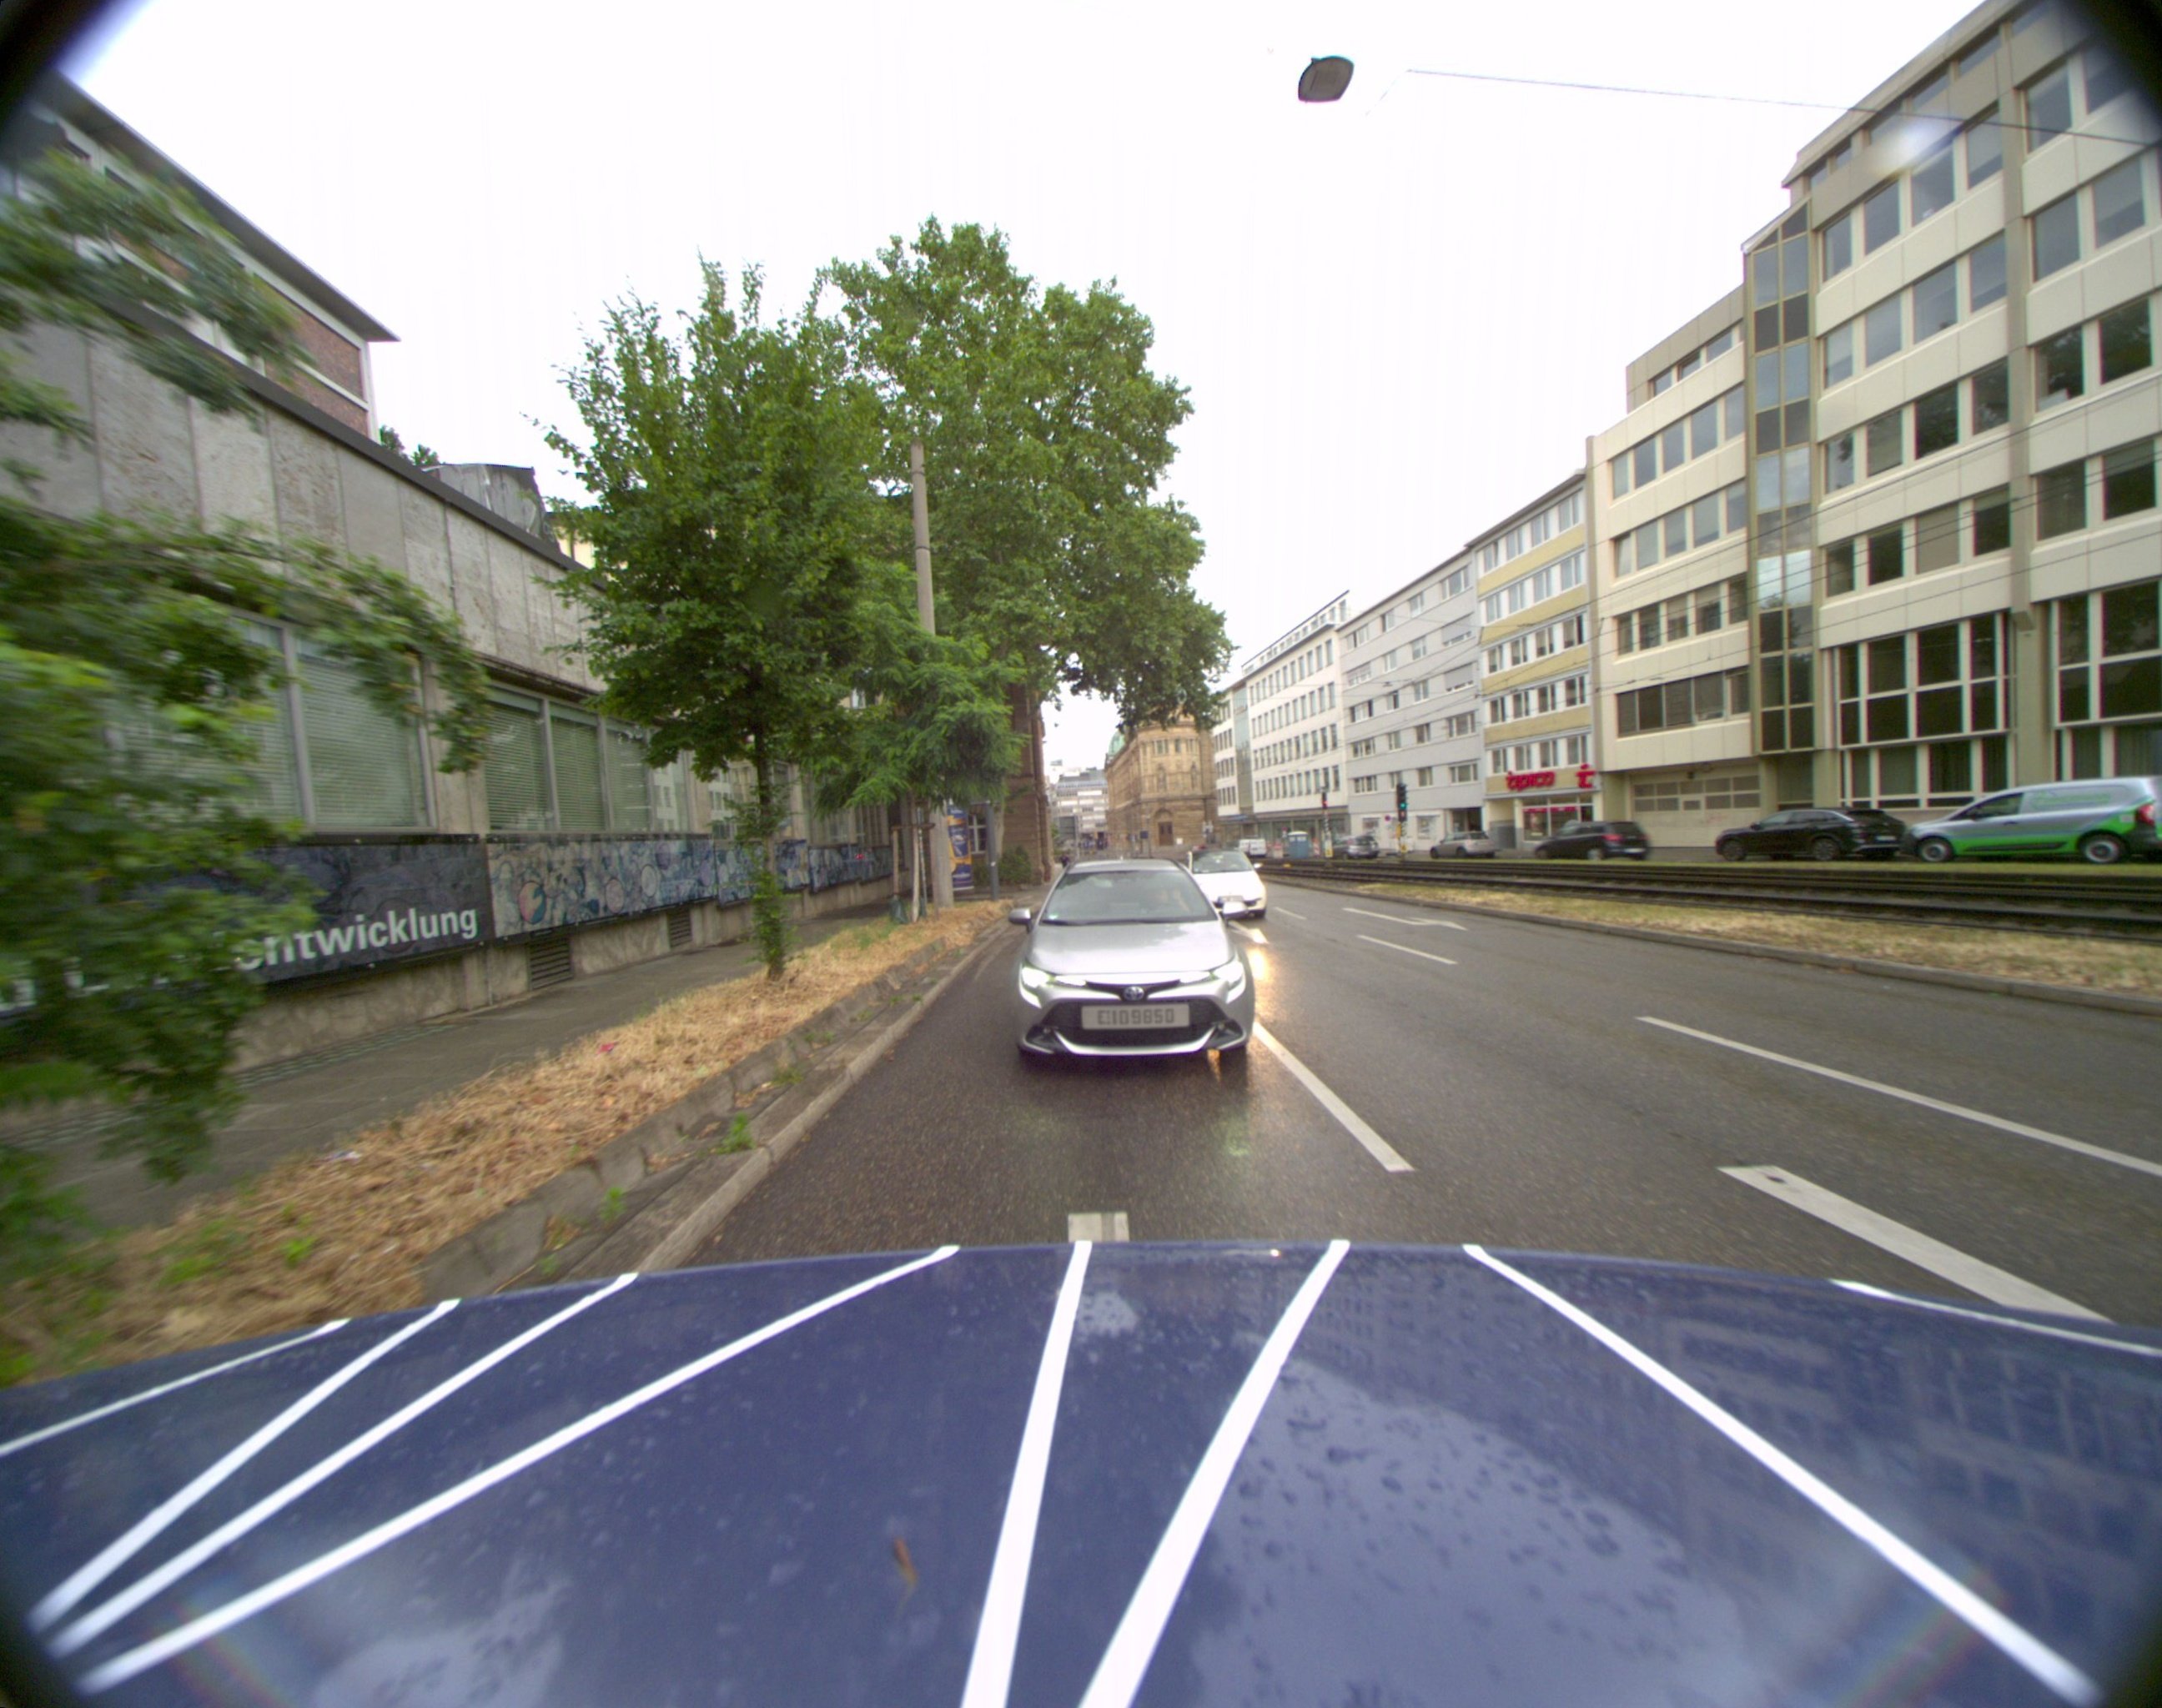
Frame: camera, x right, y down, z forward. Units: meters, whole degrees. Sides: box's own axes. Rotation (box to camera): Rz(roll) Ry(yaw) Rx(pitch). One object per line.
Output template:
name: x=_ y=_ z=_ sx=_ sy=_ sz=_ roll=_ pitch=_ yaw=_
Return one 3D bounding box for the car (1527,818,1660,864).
car: x=17.547 y=-0.431 z=26.249 sx=1.632 sy=1.349 sz=3.869 roll=-5 pitch=1 yaw=-6

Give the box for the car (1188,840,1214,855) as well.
car: x=14.554 y=-0.831 z=92.267 sx=1.890 sy=1.615 sz=4.474 roll=-5 pitch=1 yaw=-7

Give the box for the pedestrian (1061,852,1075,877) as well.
pedestrian: x=-0.898 y=0.693 z=52.559 sx=0.719 sy=1.630 sz=0.760 roll=-5 pitch=2 yaw=10

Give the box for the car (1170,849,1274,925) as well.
car: x=3.034 y=0.660 z=16.943 sx=1.654 sy=1.426 sz=3.439 roll=-2 pitch=1 yaw=0

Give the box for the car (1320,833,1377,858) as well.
car: x=15.836 y=-0.495 z=45.162 sx=1.632 sy=1.349 sz=3.869 roll=-5 pitch=1 yaw=-6

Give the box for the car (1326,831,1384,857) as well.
car: x=18.175 y=-0.675 z=50.612 sx=1.890 sy=1.505 sz=4.074 roll=-5 pitch=1 yaw=-7

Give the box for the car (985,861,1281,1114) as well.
car: x=0.349 y=0.868 z=6.943 sx=1.811 sy=1.426 sz=4.297 roll=-2 pitch=1 yaw=0

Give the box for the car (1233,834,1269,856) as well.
car: x=16.333 y=-0.869 z=73.113 sx=1.890 sy=1.924 sz=4.474 roll=-5 pitch=1 yaw=-7

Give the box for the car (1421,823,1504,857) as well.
car: x=19.499 y=-0.694 z=39.068 sx=1.801 sy=1.505 sz=4.074 roll=-5 pitch=1 yaw=-7

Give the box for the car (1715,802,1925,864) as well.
car: x=21.074 y=-0.578 z=21.934 sx=1.801 sy=1.505 sz=4.074 roll=-5 pitch=1 yaw=-7

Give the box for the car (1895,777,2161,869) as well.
car: x=21.512 y=-0.669 z=16.971 sx=1.801 sy=1.736 sz=4.213 roll=-5 pitch=1 yaw=-8
